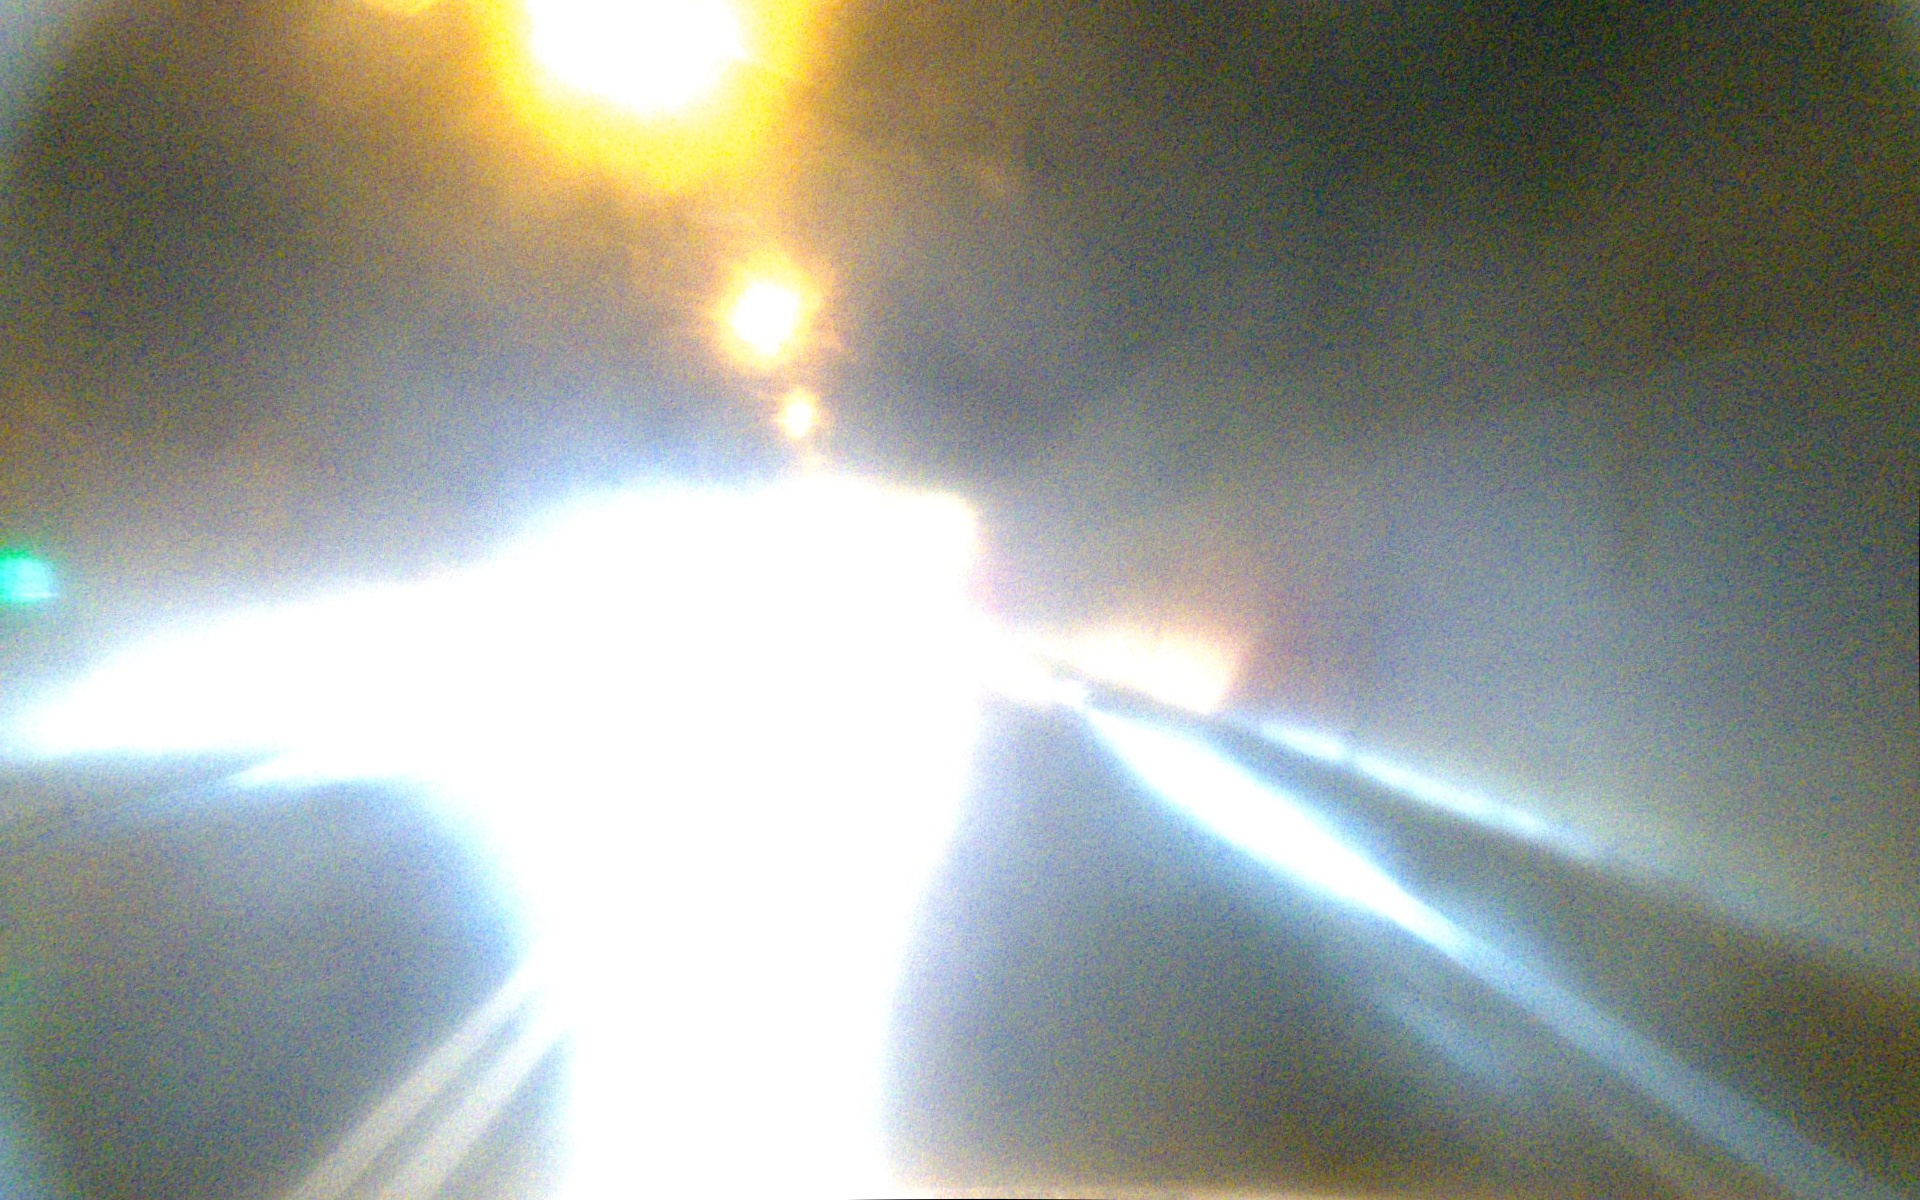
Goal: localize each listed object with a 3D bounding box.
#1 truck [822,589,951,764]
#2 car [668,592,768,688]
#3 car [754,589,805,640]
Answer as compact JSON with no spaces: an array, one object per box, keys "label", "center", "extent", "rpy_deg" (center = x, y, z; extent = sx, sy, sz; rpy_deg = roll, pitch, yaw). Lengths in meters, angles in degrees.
[{"label":"truck","center":[-1.538,1.358,33.300],"extent":[2.217,3.063,7.410],"rpy_deg":[2,0,-3]},{"label":"car","center":[-4.149,0.638,28.816],"extent":[1.590,1.544,4.132],"rpy_deg":[0,0,-7]},{"label":"car","center":[-5.914,0.460,54.327],"extent":[1.552,1.564,3.172],"rpy_deg":[2,0,-6]}]
